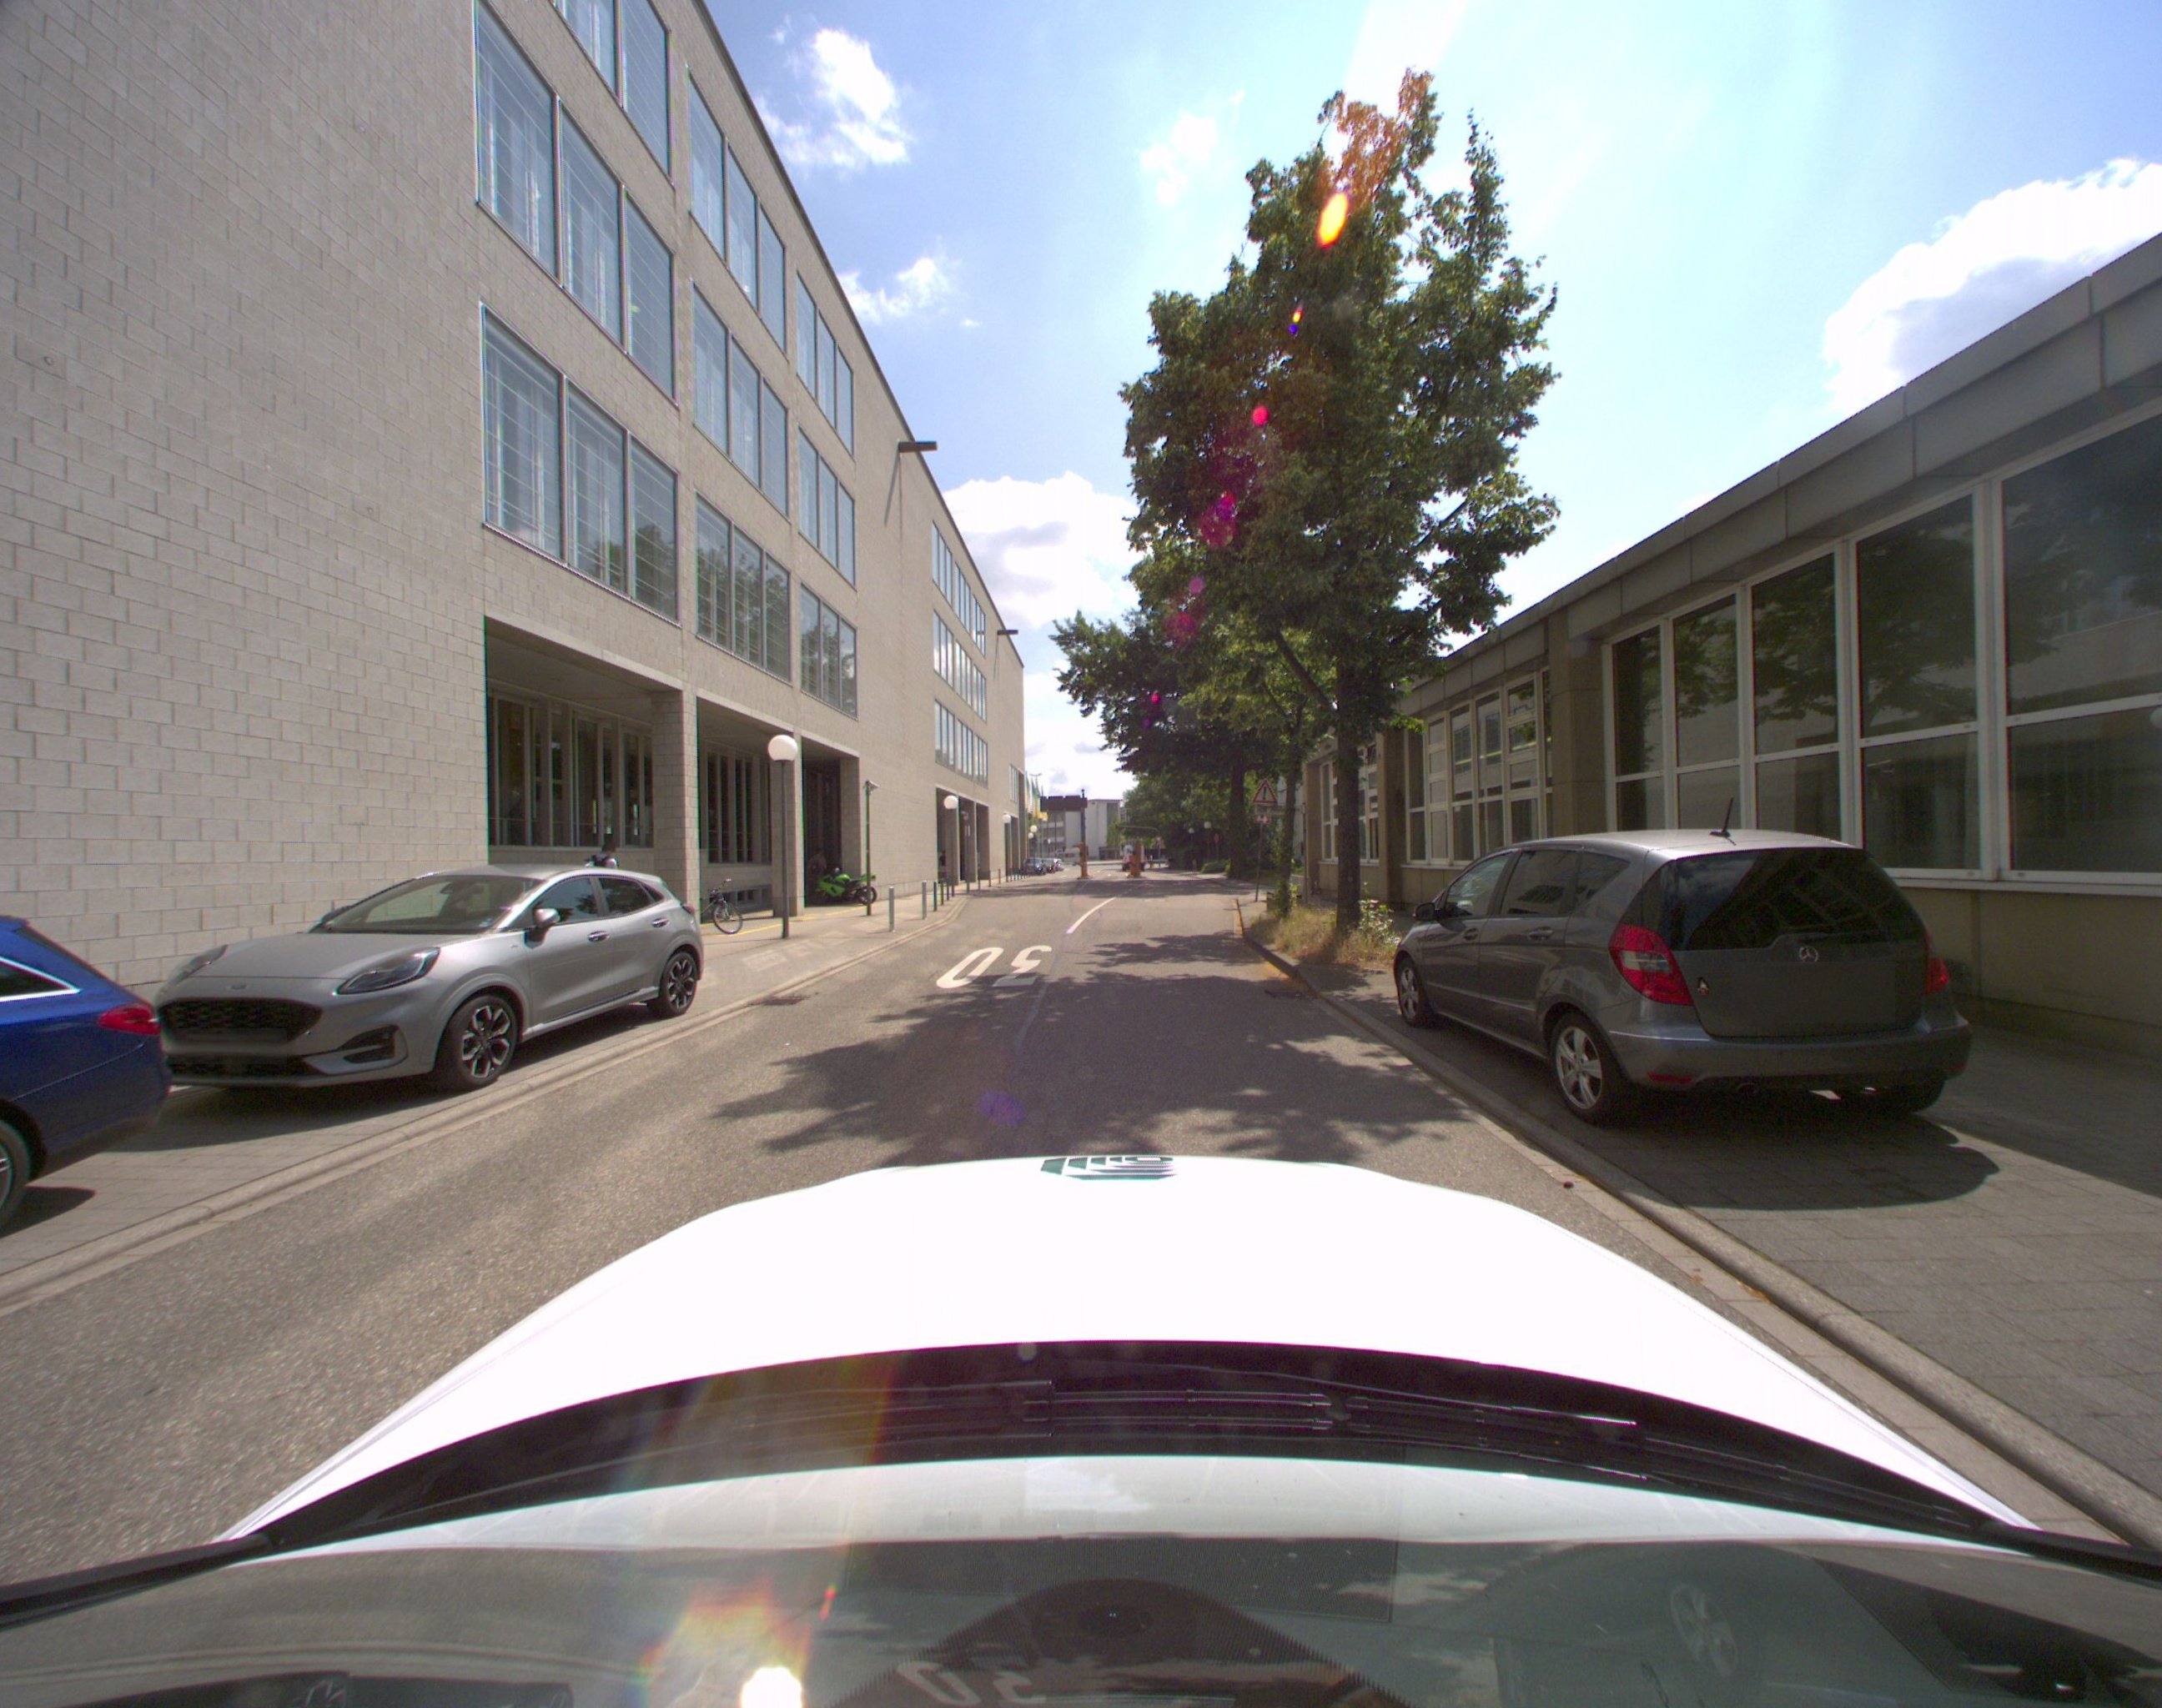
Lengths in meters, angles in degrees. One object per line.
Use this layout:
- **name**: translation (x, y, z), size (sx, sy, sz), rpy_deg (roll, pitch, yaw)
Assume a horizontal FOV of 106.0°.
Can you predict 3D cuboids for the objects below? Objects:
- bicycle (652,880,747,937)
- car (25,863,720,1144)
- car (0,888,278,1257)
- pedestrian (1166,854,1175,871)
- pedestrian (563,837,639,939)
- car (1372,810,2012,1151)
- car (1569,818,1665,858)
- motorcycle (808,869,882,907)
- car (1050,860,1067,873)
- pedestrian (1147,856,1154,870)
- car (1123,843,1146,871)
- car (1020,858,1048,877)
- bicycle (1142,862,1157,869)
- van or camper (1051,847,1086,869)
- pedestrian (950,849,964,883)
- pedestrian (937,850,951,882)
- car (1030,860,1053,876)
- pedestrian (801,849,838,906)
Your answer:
- **bicycle**: translation (-7.735, 1.099, 16.555), size (1.635, 1.086, 0.607), rpy_deg (-1, 0, -4)
- **car**: translation (-4.935, 0.856, 6.746), size (1.719, 1.535, 4.408), rpy_deg (1, -1, 3)
- **car**: translation (-5.231, 0.905, 2.009), size (1.719, 1.423, 4.668), rpy_deg (-1, 0, 3)
- **pedestrian**: translation (8.886, 0.810, 81.129), size (0.737, 1.674, 1.256), rpy_deg (-1, 0, -1)
- **pedestrian**: translation (-8.971, 0.621, 15.253), size (0.774, 1.838, 1.014), rpy_deg (-1, 0, 1)
- **car**: translation (3.615, 0.612, 5.831), size (1.749, 1.568, 3.819), rpy_deg (-2, 0, 2)
- **car**: translation (22.576, -0.647, 34.466), size (1.621, 1.552, 3.622), rpy_deg (-1, 0, -2)
- **motorcycle**: translation (-7.427, 1.054, 25.715), size (2.164, 1.138, 0.773), rpy_deg (-1, 0, -8)
- **car**: translation (-2.611, 1.449, 95.294), size (1.670, 1.395, 4.666), rpy_deg (1, 0, 3)
- **pedestrian**: translation (9.132, 1.160, 106.904), size (0.764, 1.859, 0.722), rpy_deg (-1, 0, 4)
- **car**: translation (5.277, 0.271, 80.878), size (2.087, 2.566, 5.604), rpy_deg (-2, 0, 2)
- **car**: translation (-3.815, 1.075, 66.815), size (1.852, 1.467, 4.721), rpy_deg (1, 0, 2)
- **bicycle**: translation (9.275, 1.568, 110.087), size (2.117, 0.995, 0.671), rpy_deg (0, -1, -38)
- **van or camper**: translation (-2.051, 0.657, 133.753), size (5.694, 3.259, 2.355), rpy_deg (-2, -1, -1)
- **pedestrian**: translation (-7.440, 0.701, 48.902), size (0.696, 2.014, 0.830), rpy_deg (0, 0, 2)
- **pedestrian**: translation (-8.227, 0.699, 48.902), size (0.728, 1.880, 0.720), rpy_deg (0, 0, 2)
- **car**: translation (-3.753, 1.344, 78.928), size (1.853, 1.378, 5.017), rpy_deg (1, 0, 1)
- **pedestrian**: translation (-8.508, 0.756, 26.549), size (0.799, 1.805, 0.925), rpy_deg (-3, 0, 2)
